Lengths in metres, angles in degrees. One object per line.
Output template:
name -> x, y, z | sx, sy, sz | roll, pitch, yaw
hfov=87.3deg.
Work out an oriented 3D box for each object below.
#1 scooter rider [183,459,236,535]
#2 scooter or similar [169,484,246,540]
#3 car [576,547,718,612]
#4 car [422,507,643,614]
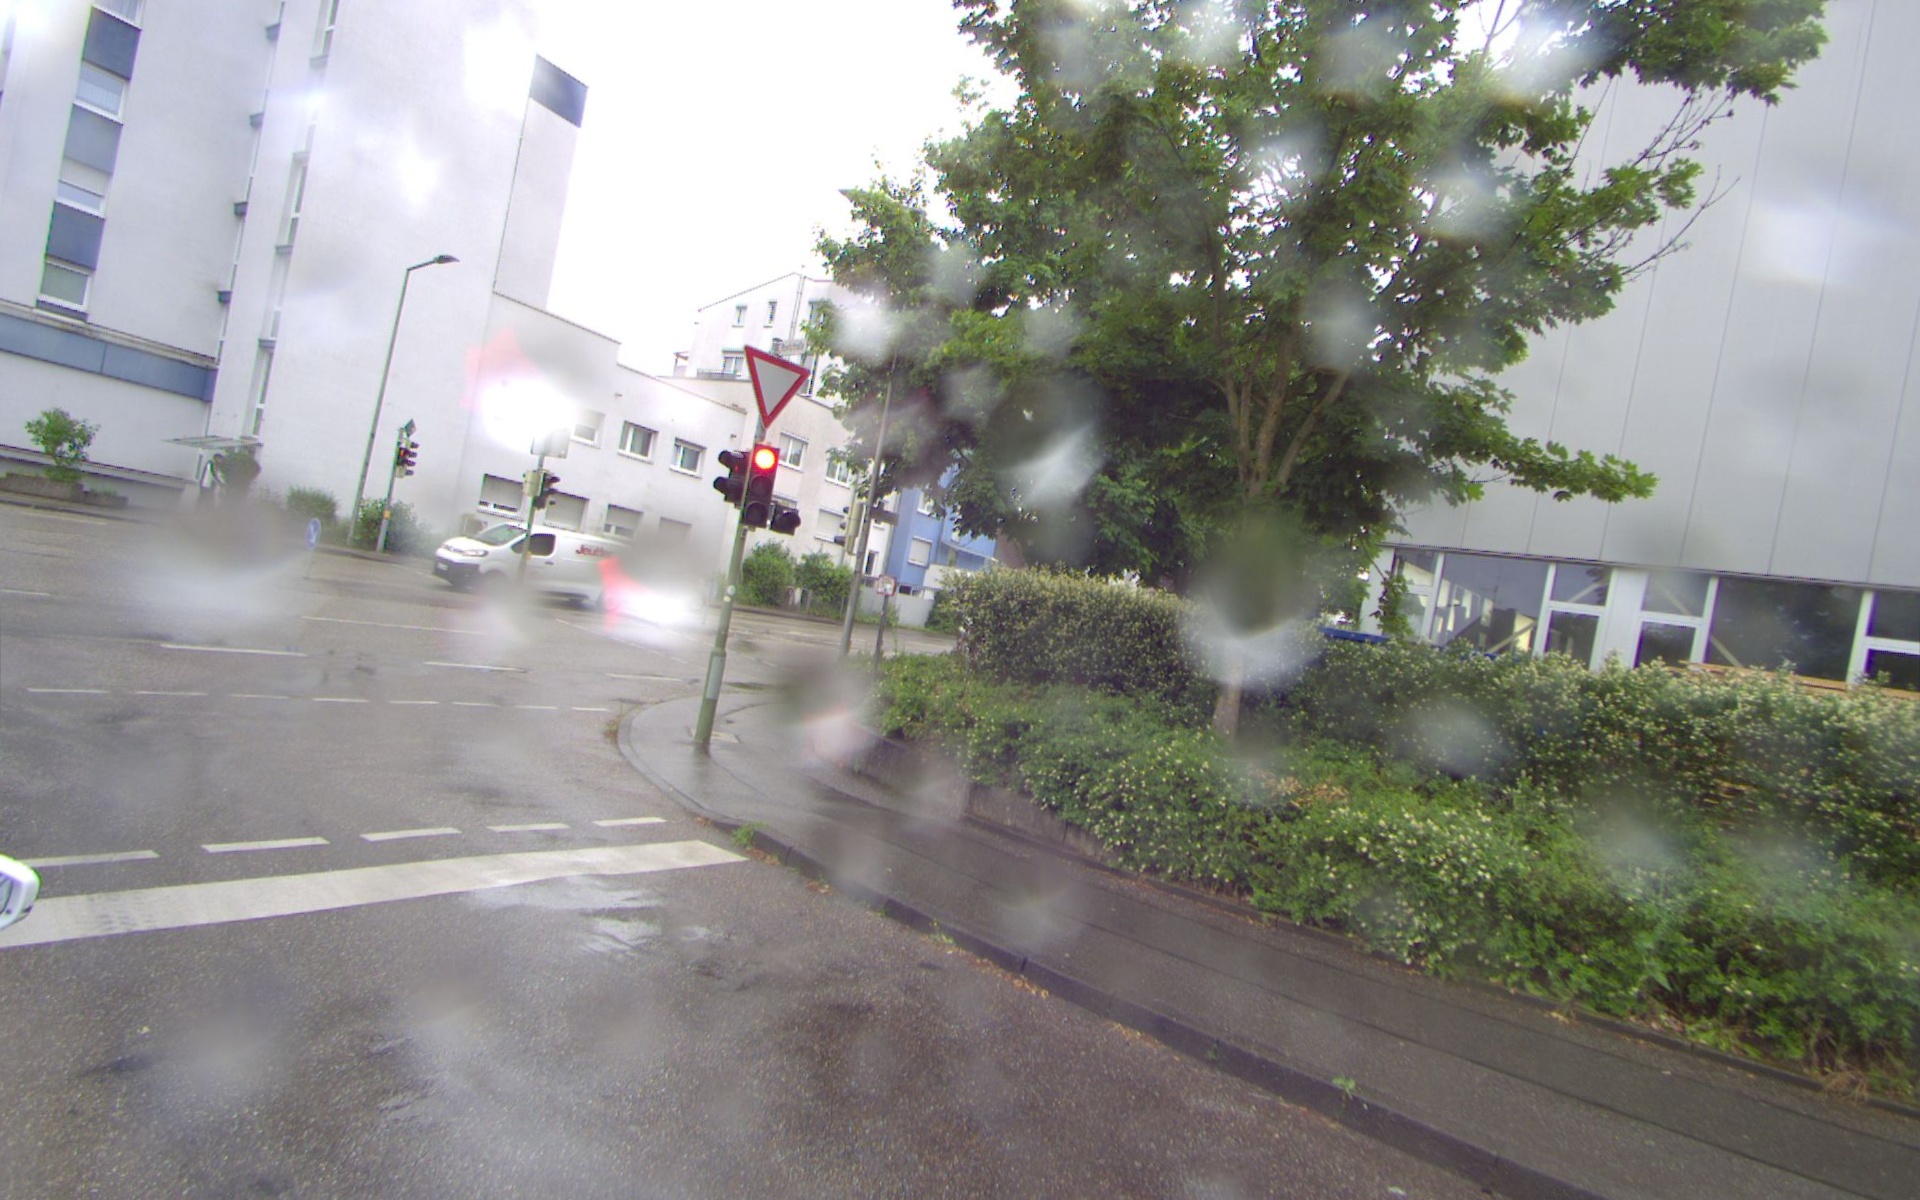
scooter rider -> -19.593, -2.669, 26.279 | 0.662, 1.817, 0.752 | 8, 1, -13
scooter or similar -> -19.626, -2.281, 26.271 | 1.294, 1.185, 0.757 | 9, 0, -15
car -> -10.159, -0.638, 32.890 | 1.803, 1.485, 3.989 | 9, 0, 36
car -> -10.914, -0.952, 26.039 | 1.800, 1.938, 4.816 | 7, -2, 39
